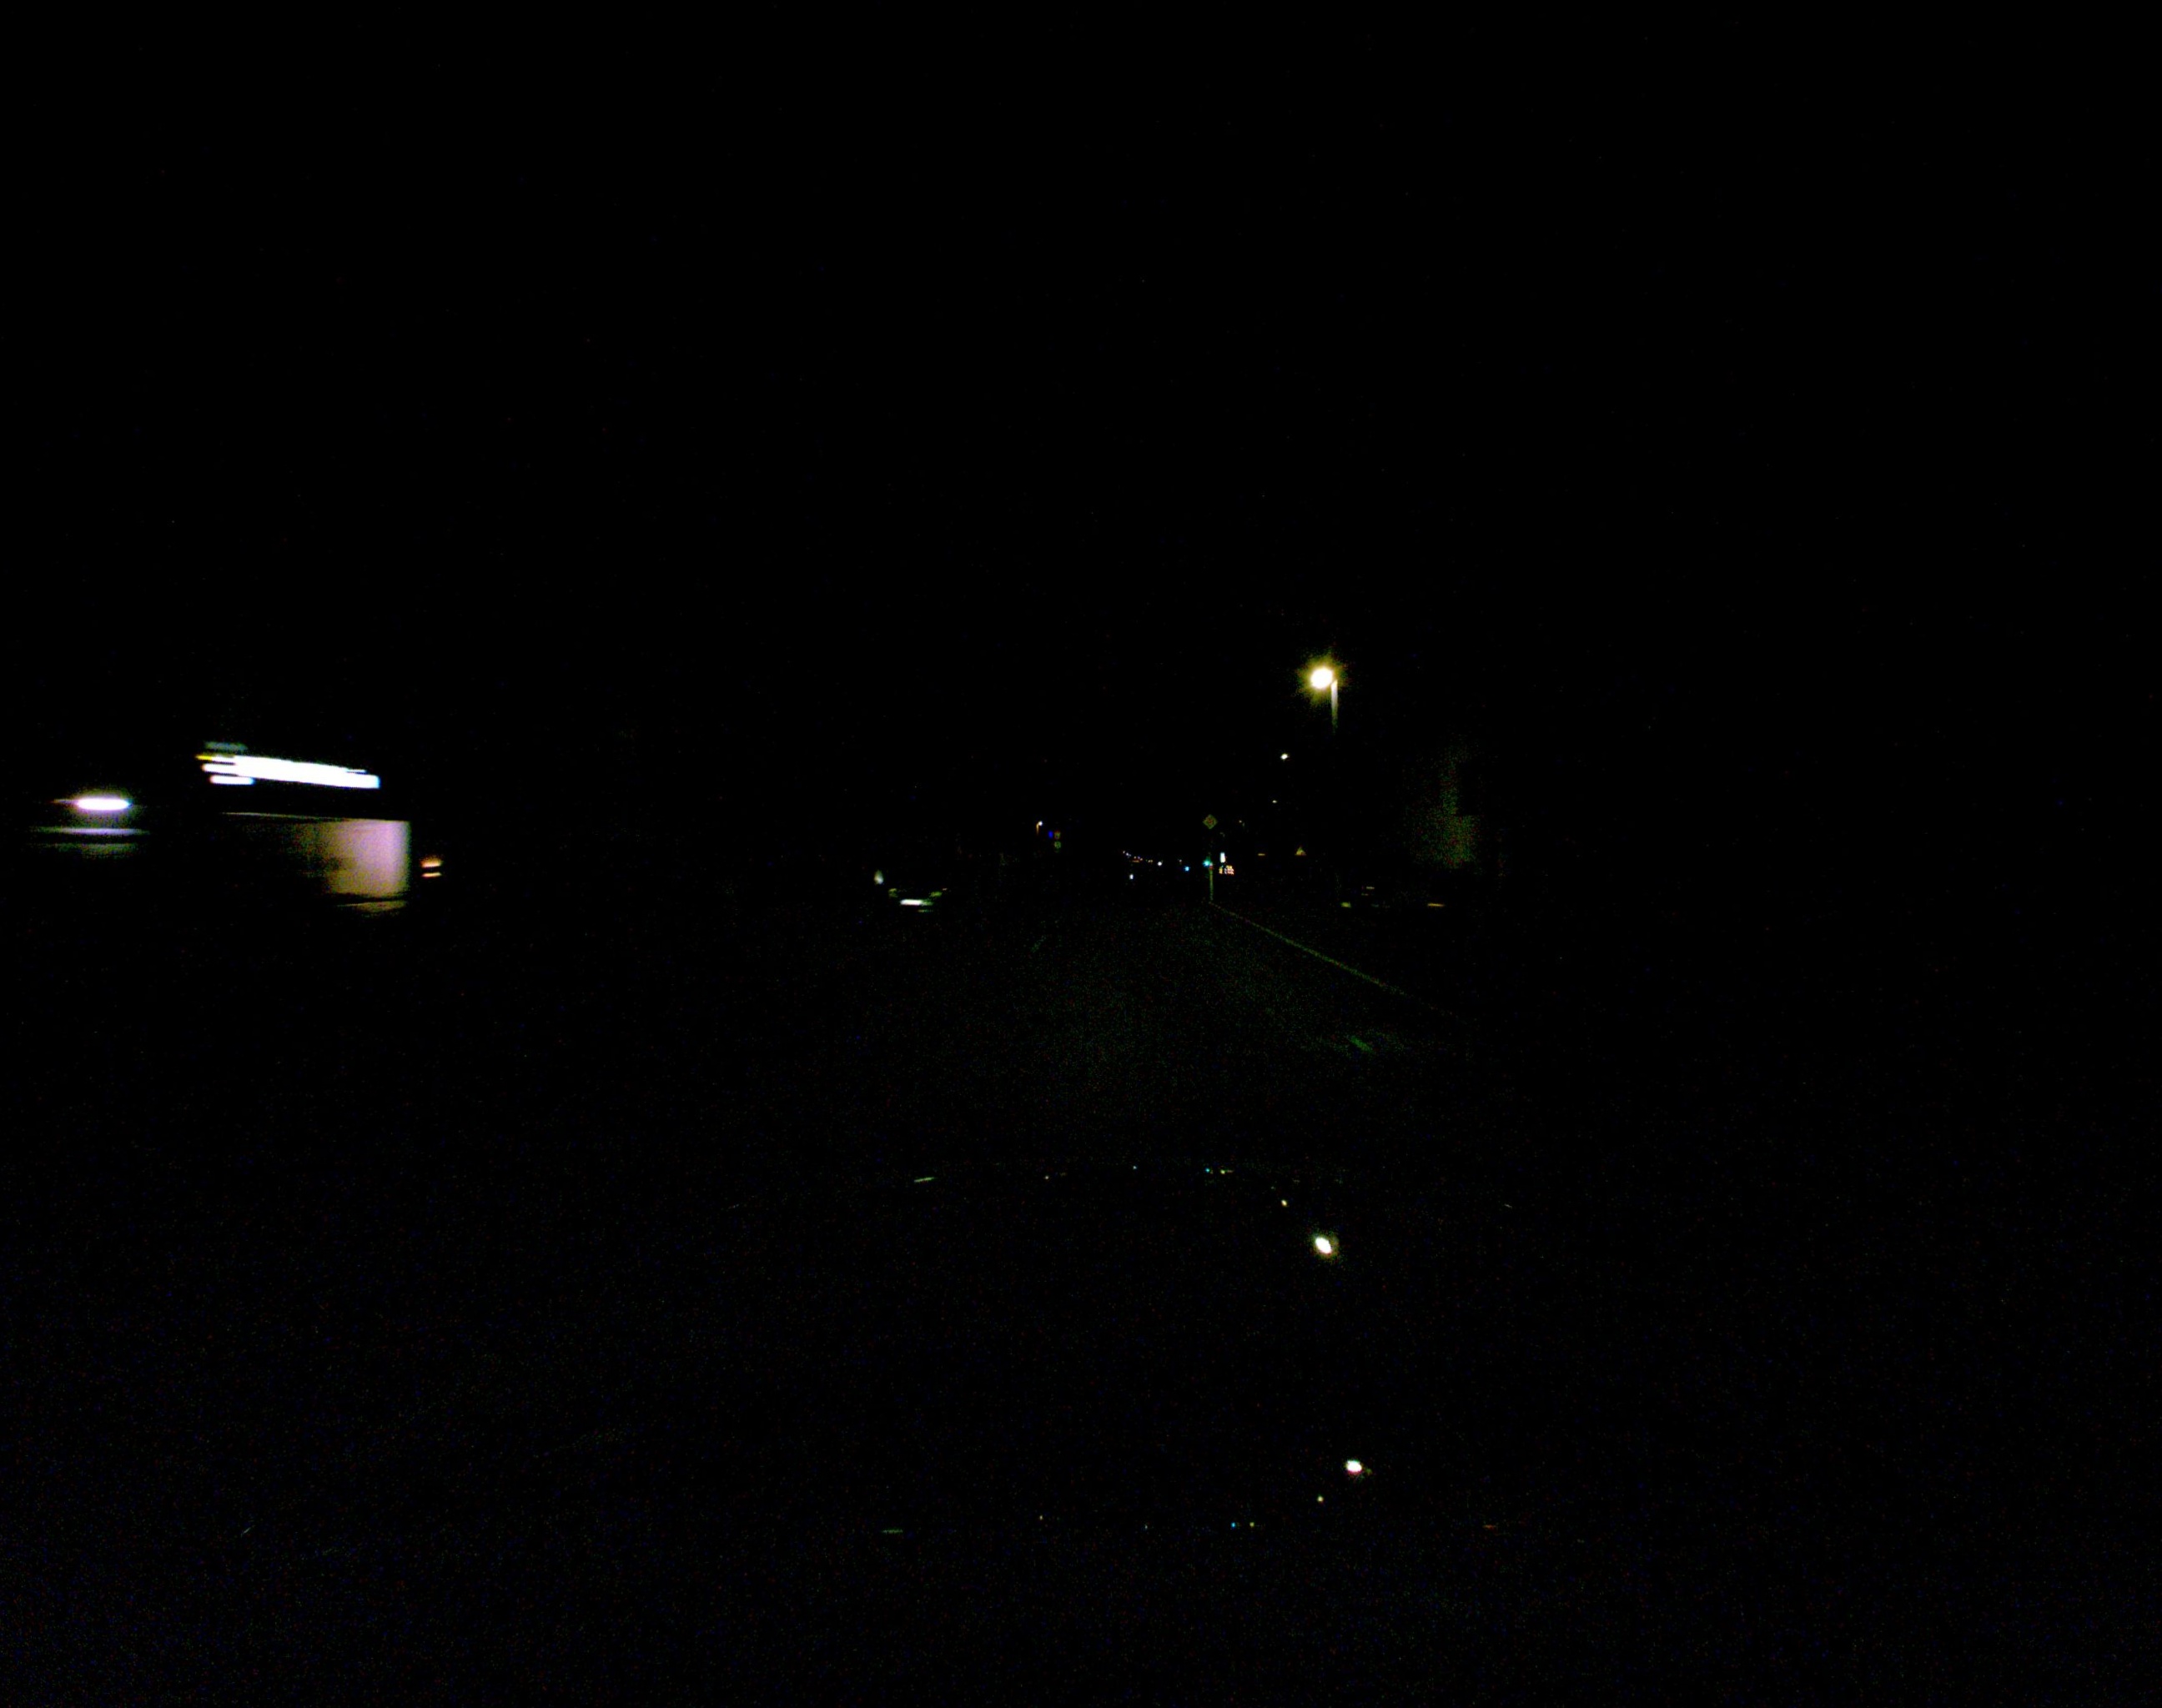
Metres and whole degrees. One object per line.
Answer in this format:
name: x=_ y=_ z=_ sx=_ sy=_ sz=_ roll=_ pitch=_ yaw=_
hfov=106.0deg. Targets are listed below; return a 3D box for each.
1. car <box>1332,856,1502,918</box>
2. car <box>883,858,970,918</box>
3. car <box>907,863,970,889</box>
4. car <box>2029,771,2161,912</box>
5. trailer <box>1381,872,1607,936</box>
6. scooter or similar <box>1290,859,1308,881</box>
car: x=8.032 y=0.774 z=19.696 sx=3.380 sy=1.232 sz=1.724 roll=3 pitch=0 yaw=0
car: x=-4.398 y=0.920 z=23.733 sx=1.666 sy=1.591 sz=3.988 roll=0 pitch=0 yaw=1
car: x=-9.489 y=1.462 z=54.198 sx=3.681 sy=1.627 sz=1.792 roll=-2 pitch=-1 yaw=20
car: x=16.339 y=-0.178 z=10.979 sx=1.986 sy=2.013 sz=4.508 roll=0 pitch=0 yaw=2
trailer: x=7.916 y=0.940 z=15.881 sx=3.419 sy=1.002 sz=1.955 roll=2 pitch=0 yaw=2
scooter or similar: x=13.179 y=0.973 z=49.306 sx=0.609 sy=1.281 sz=1.690 roll=0 pitch=-1 yaw=0
